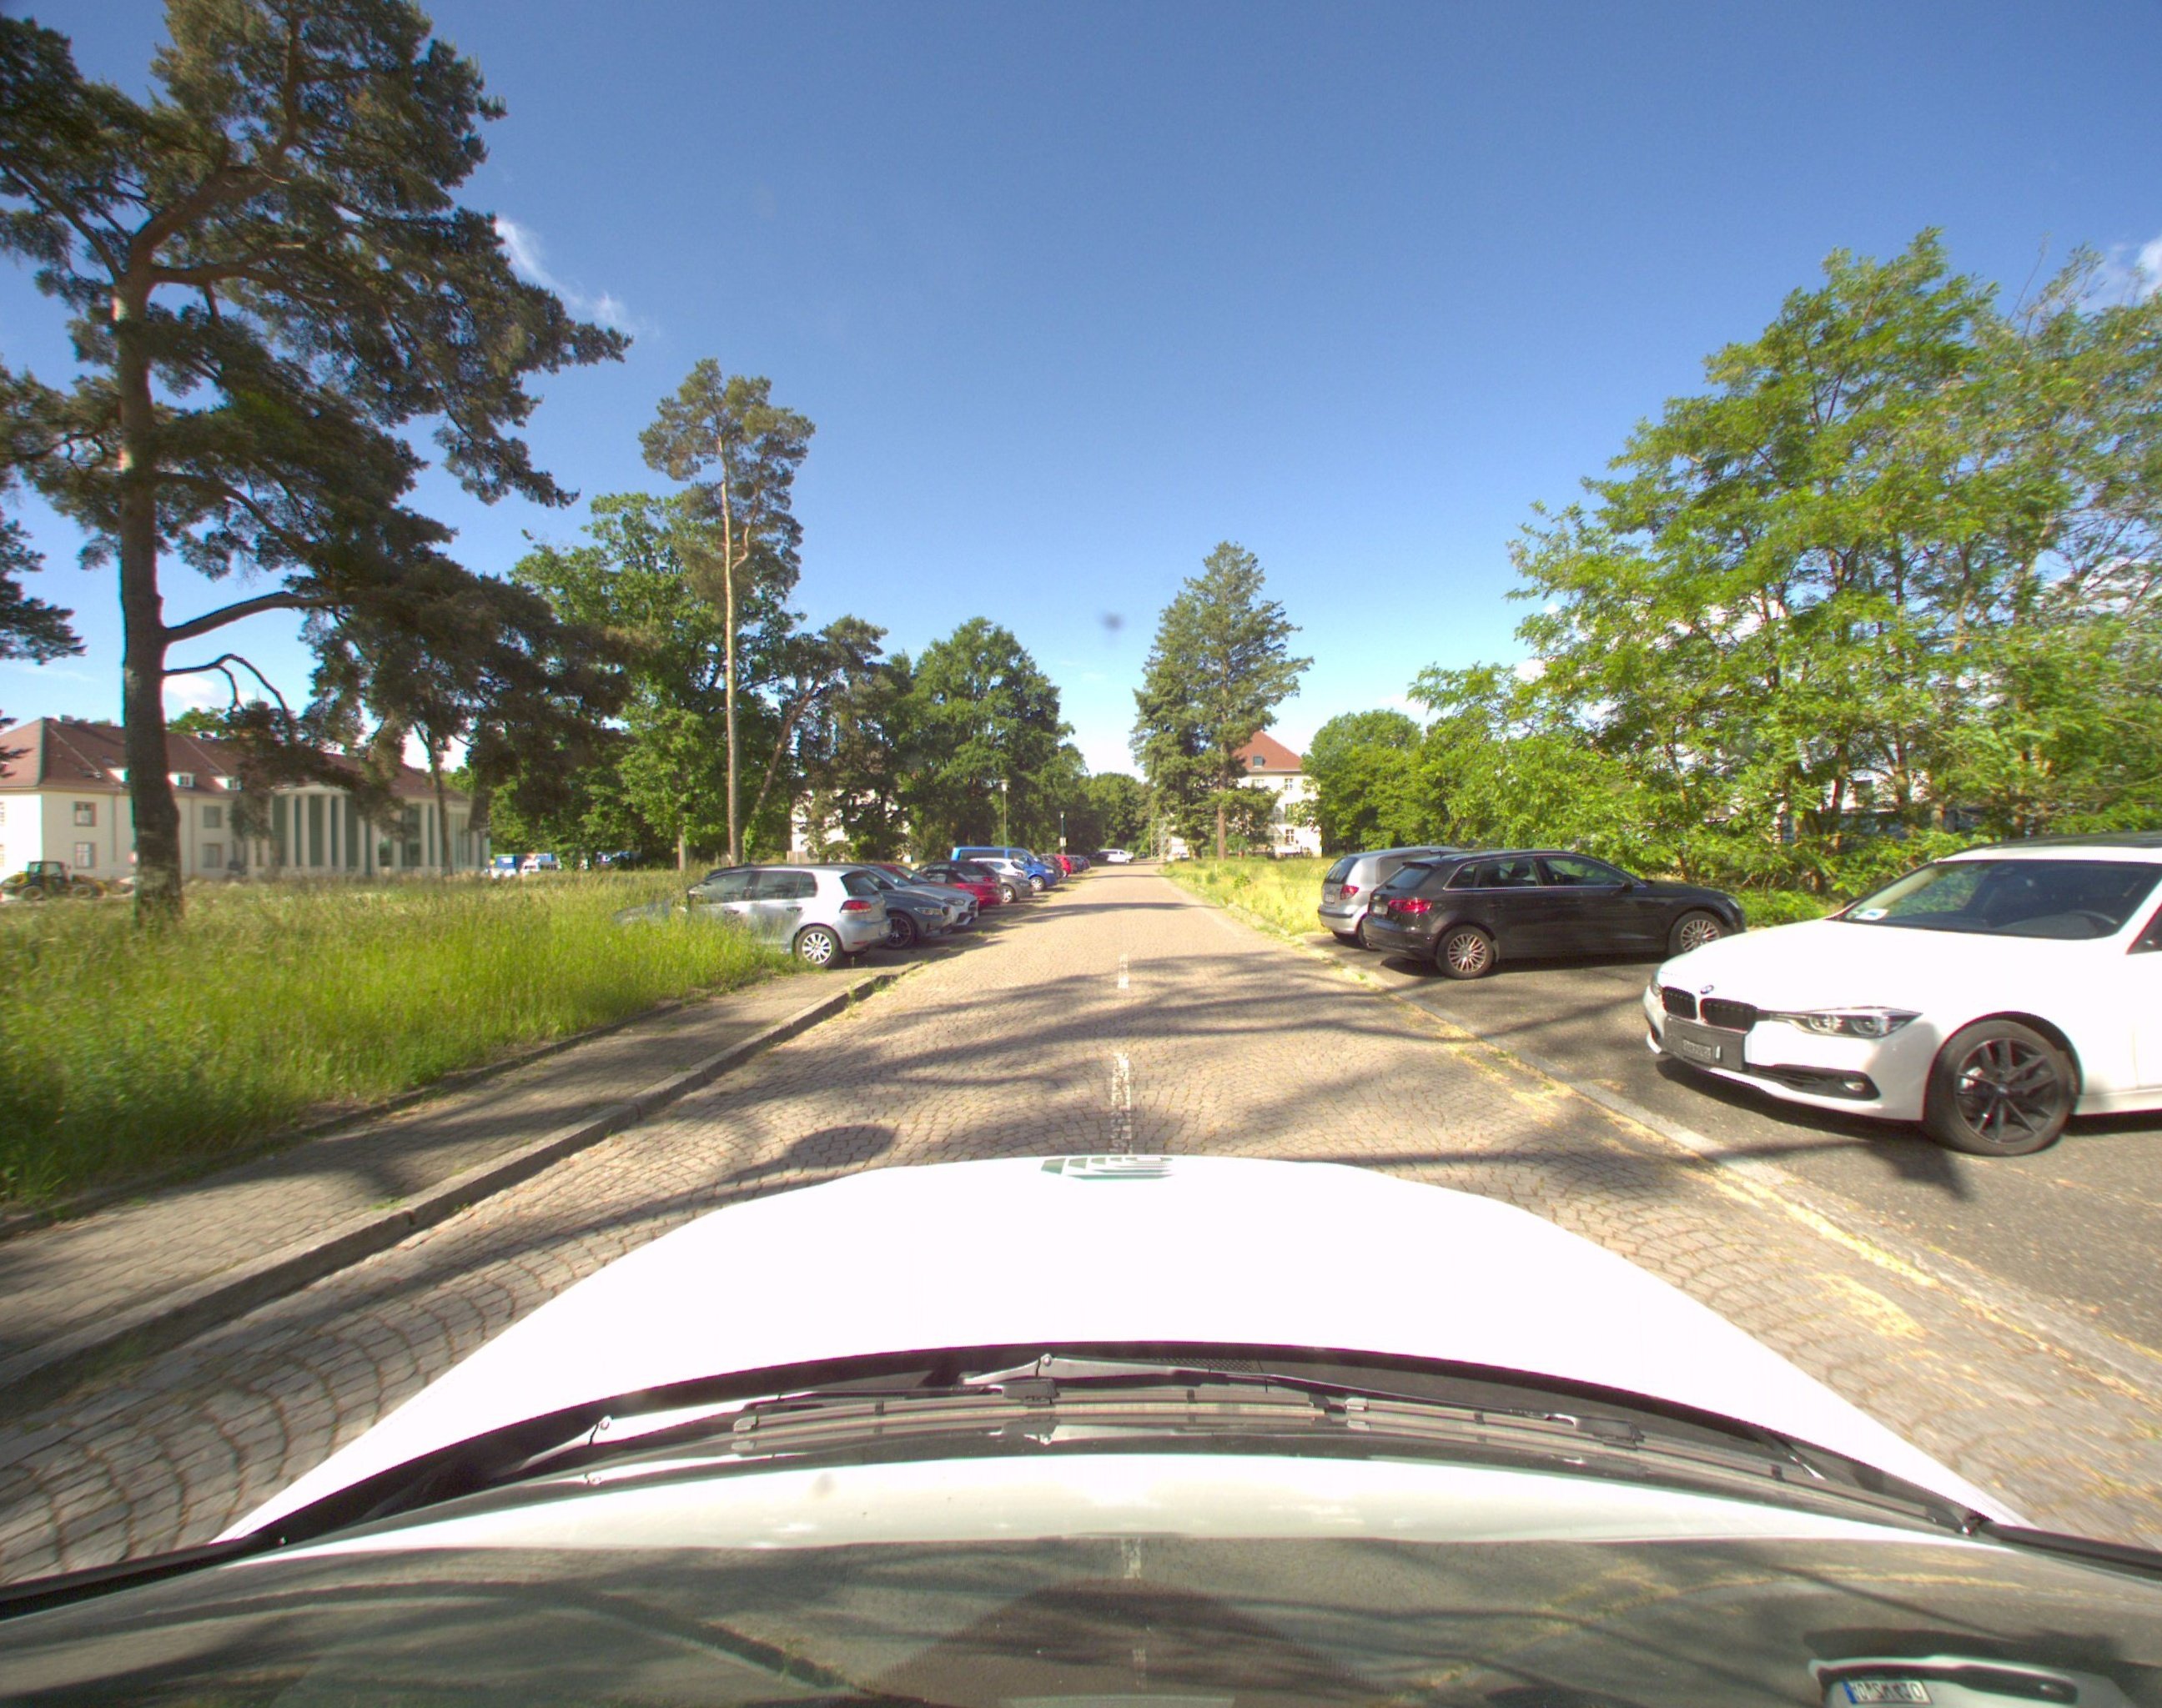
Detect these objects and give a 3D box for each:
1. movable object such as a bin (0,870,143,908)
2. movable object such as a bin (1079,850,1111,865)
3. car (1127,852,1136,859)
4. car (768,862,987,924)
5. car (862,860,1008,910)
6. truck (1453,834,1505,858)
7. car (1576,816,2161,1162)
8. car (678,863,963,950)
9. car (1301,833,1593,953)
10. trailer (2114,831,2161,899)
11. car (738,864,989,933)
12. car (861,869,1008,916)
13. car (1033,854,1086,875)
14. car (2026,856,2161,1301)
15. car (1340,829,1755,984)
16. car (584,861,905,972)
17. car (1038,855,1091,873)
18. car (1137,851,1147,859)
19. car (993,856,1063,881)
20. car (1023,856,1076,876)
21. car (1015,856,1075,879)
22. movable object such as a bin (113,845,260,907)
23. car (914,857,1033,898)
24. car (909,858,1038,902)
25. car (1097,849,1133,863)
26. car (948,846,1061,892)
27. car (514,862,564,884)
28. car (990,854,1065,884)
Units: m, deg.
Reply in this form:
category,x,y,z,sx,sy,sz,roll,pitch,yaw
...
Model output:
category,x,y,z,sx,sy,sz,roll,pitch,yaw
movable object such as a bin,-64.786,2.197,52.260,5.710,2.125,2.498,-2,0,-41
movable object such as a bin,1.830,0.450,105.919,3.535,1.744,2.035,-2,0,21
car,11.427,0.406,184.748,1.805,1.579,4.137,-2,0,3
car,-4.886,0.934,20.002,4.844,1.421,1.940,0,0,3
car,-4.408,0.935,24.971,4.058,1.452,1.823,0,-1,4
truck,41.147,-0.764,84.358,2.224,2.424,6.890,0,0,2
car,5.742,0.580,4.785,4.498,1.464,1.838,-4,0,0
car,-4.593,0.902,14.919,4.567,1.452,1.984,0,-1,-1
car,5.575,0.569,12.781,3.727,1.476,1.752,-4,0,1
trailer,18.837,0.171,13.412,2.392,1.105,1.035,0,0,-1
car,-4.582,0.926,17.642,4.844,1.421,1.940,0,-1,3
car,-3.945,1.028,22.277,3.614,1.234,1.762,0,-1,4
car,-1.697,0.808,65.534,4.118,1.579,1.886,-1,0,2
car,5.709,0.600,1.969,4.520,1.421,1.895,-4,0,1
car,5.507,0.582,10.034,3.990,1.441,1.844,-4,0,1
car,-4.896,0.881,12.307,4.012,1.483,1.949,0,1,1
car,-1.388,0.871,70.211,4.338,1.445,1.924,-1,0,5
car,13.834,0.282,184.946,1.963,1.668,4.089,-2,0,3
car,-3.042,0.831,47.683,3.909,1.449,1.867,0,0,1
car,-2.406,0.898,63.164,3.905,1.433,1.844,-1,0,4
car,-2.408,0.886,55.246,3.909,1.461,1.843,0,0,1
movable object such as a bin,-59.493,1.389,54.487,3.933,3.731,6.743,-2,0,-21
car,-3.989,0.870,30.732,4.179,1.475,1.825,0,0,2
car,-3.610,0.873,27.829,4.058,1.425,1.925,0,0,4
car,4.987,0.269,118.902,5.214,2.016,1.951,-1,0,2
car,-3.316,0.654,35.991,4.698,1.968,2.007,0,0,2
car,-63.343,2.219,95.298,1.975,2.436,5.282,-2,0,4
car,-2.901,0.812,44.941,3.939,1.567,1.975,0,1,1
